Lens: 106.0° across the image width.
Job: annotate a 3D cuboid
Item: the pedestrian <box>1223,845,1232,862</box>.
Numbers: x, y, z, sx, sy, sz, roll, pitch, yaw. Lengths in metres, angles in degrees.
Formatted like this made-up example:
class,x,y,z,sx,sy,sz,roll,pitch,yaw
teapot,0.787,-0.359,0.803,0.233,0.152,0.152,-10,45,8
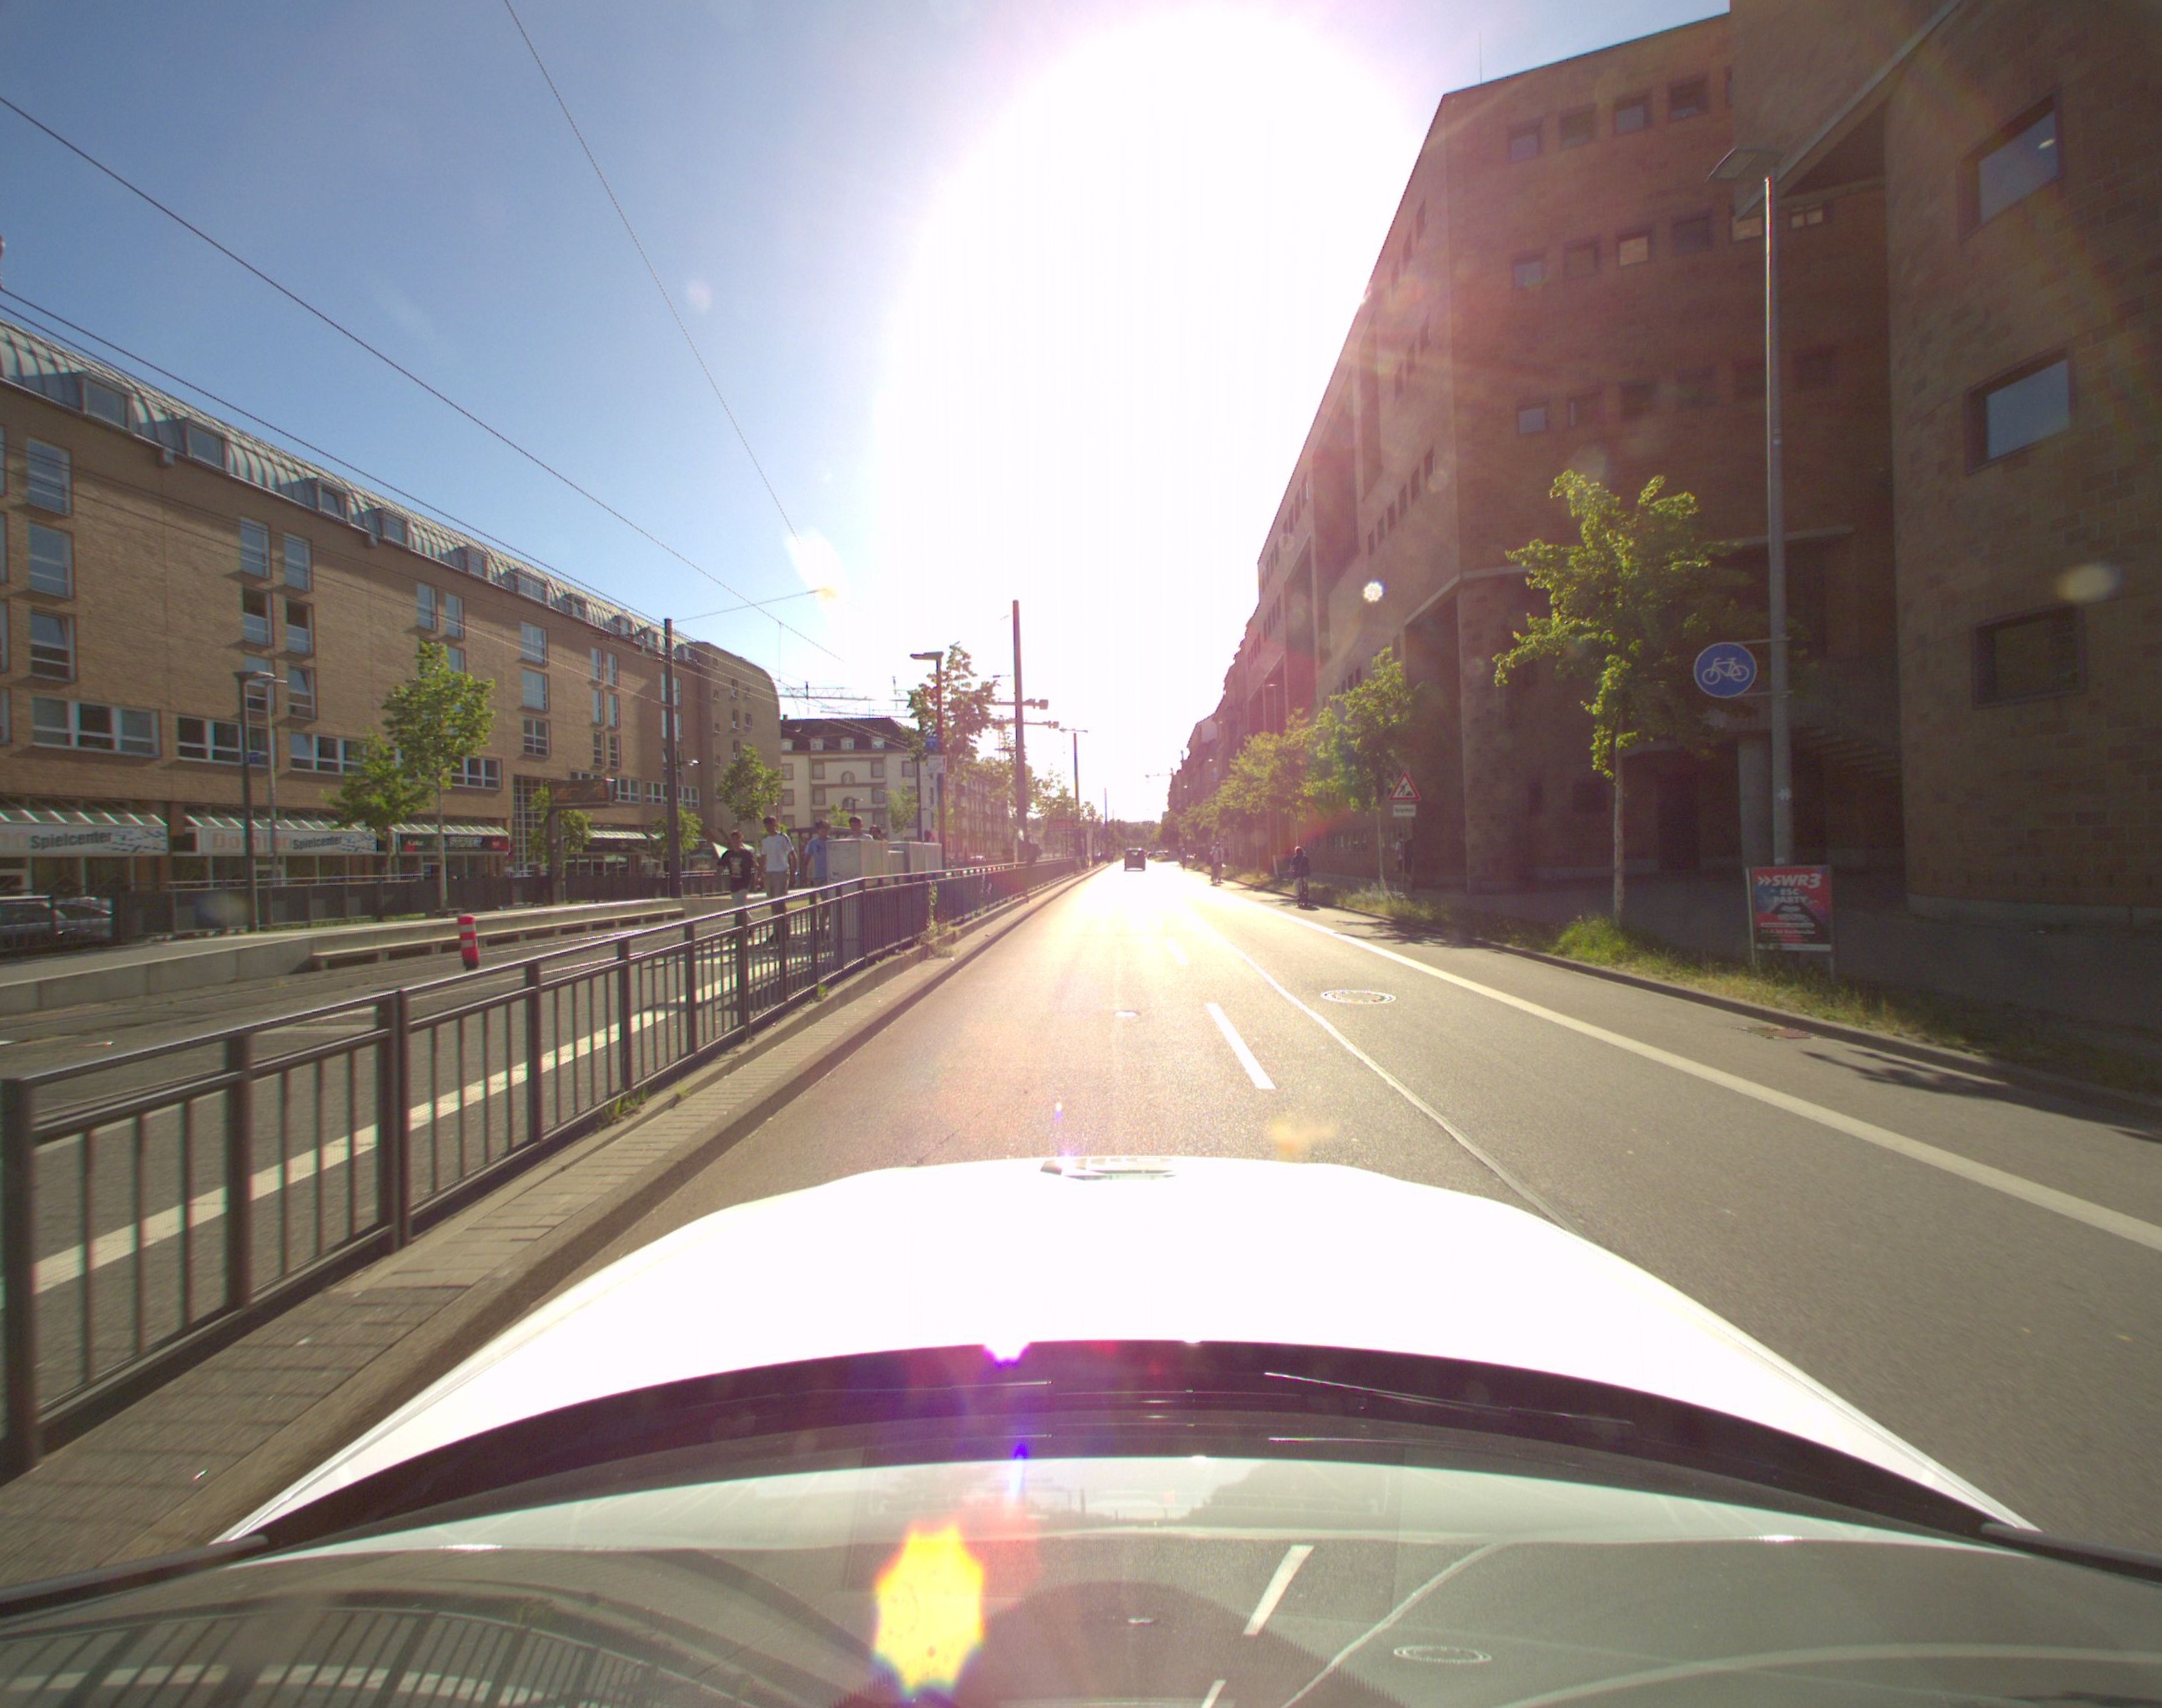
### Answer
class,x,y,z,sx,sy,sz,roll,pitch,yaw
pedestrian,13.822,-0.032,76.817,0.706,1.542,0.928,-2,0,3

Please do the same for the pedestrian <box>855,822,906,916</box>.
class,x,y,z,sx,sy,sz,roll,pitch,yaw
pedestrian,-4.006,0.291,16.355,0.751,1.811,0.840,-2,0,0

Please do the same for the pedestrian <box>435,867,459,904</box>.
class,x,y,z,sx,sy,sz,roll,pitch,yaw
pedestrian,-32.057,1.581,41.169,0.618,1.840,0.645,-2,0,2

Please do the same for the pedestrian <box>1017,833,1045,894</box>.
class,x,y,z,sx,sy,sz,roll,pitch,yaw
pedestrian,-1.560,0.296,25.514,0.743,1.884,0.716,-2,0,3

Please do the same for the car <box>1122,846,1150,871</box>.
class,x,y,z,sx,sy,sz,roll,pitch,yaw
car,4.560,0.367,68.040,2.191,1.926,4.658,-2,0,3

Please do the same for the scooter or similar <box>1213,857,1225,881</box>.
class,x,y,z,sx,sy,sz,roll,pitch,yaw
scooter or similar,7.210,0.749,42.459,0.488,1.226,1.171,0,0,3

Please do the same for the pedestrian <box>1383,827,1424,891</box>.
class,x,y,z,sx,sy,sz,roll,pitch,yaw
pedestrian,9.908,0.155,25.061,0.784,1.883,1.107,-2,0,3

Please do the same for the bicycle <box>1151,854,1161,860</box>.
class,x,y,z,sx,sy,sz,roll,pitch,yaw
bicycle,13.726,0.582,148.698,1.785,1.030,0.528,-2,0,3

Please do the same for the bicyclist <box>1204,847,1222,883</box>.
class,x,y,z,sx,sy,sz,roll,pitch,yaw
bicyclist,6.393,0.538,39.583,0.776,1.711,0.869,0,0,3

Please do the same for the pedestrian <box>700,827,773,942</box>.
class,x,y,z,sx,sy,sz,roll,pitch,yaw
pedestrian,-4.931,0.426,11.706,0.606,1.569,0.908,-2,0,0

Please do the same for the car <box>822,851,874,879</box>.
class,x,y,z,sx,sy,sz,roll,pitch,yaw
car,-20.685,0.947,72.681,1.980,2.369,5.663,-1,0,11

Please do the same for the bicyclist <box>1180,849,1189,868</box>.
class,x,y,z,sx,sy,sz,roll,pitch,yaw
bicyclist,9.031,0.360,71.124,0.681,1.673,0.923,0,0,3

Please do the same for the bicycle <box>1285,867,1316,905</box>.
class,x,y,z,sx,sy,sz,roll,pitch,yaw
bicycle,6.265,0.904,23.249,0.555,1.027,1.508,0,0,3

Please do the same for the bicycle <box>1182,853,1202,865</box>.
class,x,y,z,sx,sy,sz,roll,pitch,yaw
bicycle,11.619,0.487,85.332,1.986,1.128,0.711,-4,0,4

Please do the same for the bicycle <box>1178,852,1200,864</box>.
class,x,y,z,sx,sy,sz,roll,pitch,yaw
bicycle,11.124,0.368,83.983,1.993,1.092,0.845,-4,0,-6

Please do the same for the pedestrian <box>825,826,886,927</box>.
class,x,y,z,sx,sy,sz,roll,pitch,yaw
pedestrian,-3.761,0.363,13.657,0.751,1.618,0.775,-2,0,0

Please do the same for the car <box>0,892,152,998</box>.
class,x,y,z,sx,sy,sz,roll,pitch,yaw
car,-17.234,1.443,12.018,1.923,1.498,4.294,-2,0,4

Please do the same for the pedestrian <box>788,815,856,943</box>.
class,x,y,z,sx,sy,sz,roll,pitch,yaw
pedestrian,-3.686,0.351,11.659,0.645,1.743,0.820,-2,0,0

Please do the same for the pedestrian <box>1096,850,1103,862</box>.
class,x,y,z,sx,sy,sz,roll,pitch,yaw
pedestrian,2.361,0.205,103.195,0.809,1.536,0.799,-1,0,5

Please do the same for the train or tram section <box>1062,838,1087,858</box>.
class,x,y,z,sx,sy,sz,roll,pitch,yaw
train or tram section,-0.909,-0.808,121.010,2.743,2.743,9.875,0,0,5

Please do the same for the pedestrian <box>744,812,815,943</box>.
class,x,y,z,sx,sy,sz,roll,pitch,yaw
pedestrian,-4.267,0.318,11.585,0.645,1.774,0.820,-2,0,0

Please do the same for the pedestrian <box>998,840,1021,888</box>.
class,x,y,z,sx,sy,sz,roll,pitch,yaw
pedestrian,-2.658,0.361,30.226,0.706,1.723,0.752,-2,0,2

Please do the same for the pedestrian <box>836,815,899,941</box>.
class,x,y,z,sx,sy,sz,roll,pitch,yaw
pedestrian,-3.085,0.334,11.835,0.645,1.743,0.820,-2,0,0

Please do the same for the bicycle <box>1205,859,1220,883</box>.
class,x,y,z,sx,sy,sz,roll,pitch,yaw
bicycle,6.380,0.824,39.648,0.555,1.092,1.794,0,0,3

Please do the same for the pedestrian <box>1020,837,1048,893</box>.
class,x,y,z,sx,sy,sz,roll,pitch,yaw
pedestrian,-1.502,0.357,26.213,0.743,1.748,0.716,-2,0,3

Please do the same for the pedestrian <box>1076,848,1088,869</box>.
class,x,y,z,sx,sy,sz,roll,pitch,yaw
pedestrian,0.071,0.329,61.746,0.809,1.536,0.799,-2,0,5

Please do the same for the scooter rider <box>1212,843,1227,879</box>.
class,x,y,z,sx,sy,sz,roll,pitch,yaw
scooter rider,7.235,0.348,42.545,0.663,1.860,0.902,0,0,3

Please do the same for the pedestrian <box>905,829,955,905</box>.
class,x,y,z,sx,sy,sz,roll,pitch,yaw
pedestrian,-3.729,0.320,20.230,0.988,1.811,1.022,-2,0,0

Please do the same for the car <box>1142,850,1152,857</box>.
class,x,y,z,sx,sy,sz,roll,pitch,yaw
car,14.003,-0.094,172.342,2.019,1.499,4.658,-2,0,3

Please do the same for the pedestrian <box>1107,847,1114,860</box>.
class,x,y,z,sx,sy,sz,roll,pitch,yaw
pedestrian,3.966,-0.094,109.772,0.863,1.788,0.970,-1,0,-3

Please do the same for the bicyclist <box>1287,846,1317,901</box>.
class,x,y,z,sx,sy,sz,roll,pitch,yaw
bicyclist,6.297,0.544,23.271,0.655,1.537,0.910,0,0,3

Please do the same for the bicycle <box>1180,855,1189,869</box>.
class,x,y,z,sx,sy,sz,roll,pitch,yaw
bicycle,9.024,0.688,71.047,0.599,1.181,1.871,0,0,3
